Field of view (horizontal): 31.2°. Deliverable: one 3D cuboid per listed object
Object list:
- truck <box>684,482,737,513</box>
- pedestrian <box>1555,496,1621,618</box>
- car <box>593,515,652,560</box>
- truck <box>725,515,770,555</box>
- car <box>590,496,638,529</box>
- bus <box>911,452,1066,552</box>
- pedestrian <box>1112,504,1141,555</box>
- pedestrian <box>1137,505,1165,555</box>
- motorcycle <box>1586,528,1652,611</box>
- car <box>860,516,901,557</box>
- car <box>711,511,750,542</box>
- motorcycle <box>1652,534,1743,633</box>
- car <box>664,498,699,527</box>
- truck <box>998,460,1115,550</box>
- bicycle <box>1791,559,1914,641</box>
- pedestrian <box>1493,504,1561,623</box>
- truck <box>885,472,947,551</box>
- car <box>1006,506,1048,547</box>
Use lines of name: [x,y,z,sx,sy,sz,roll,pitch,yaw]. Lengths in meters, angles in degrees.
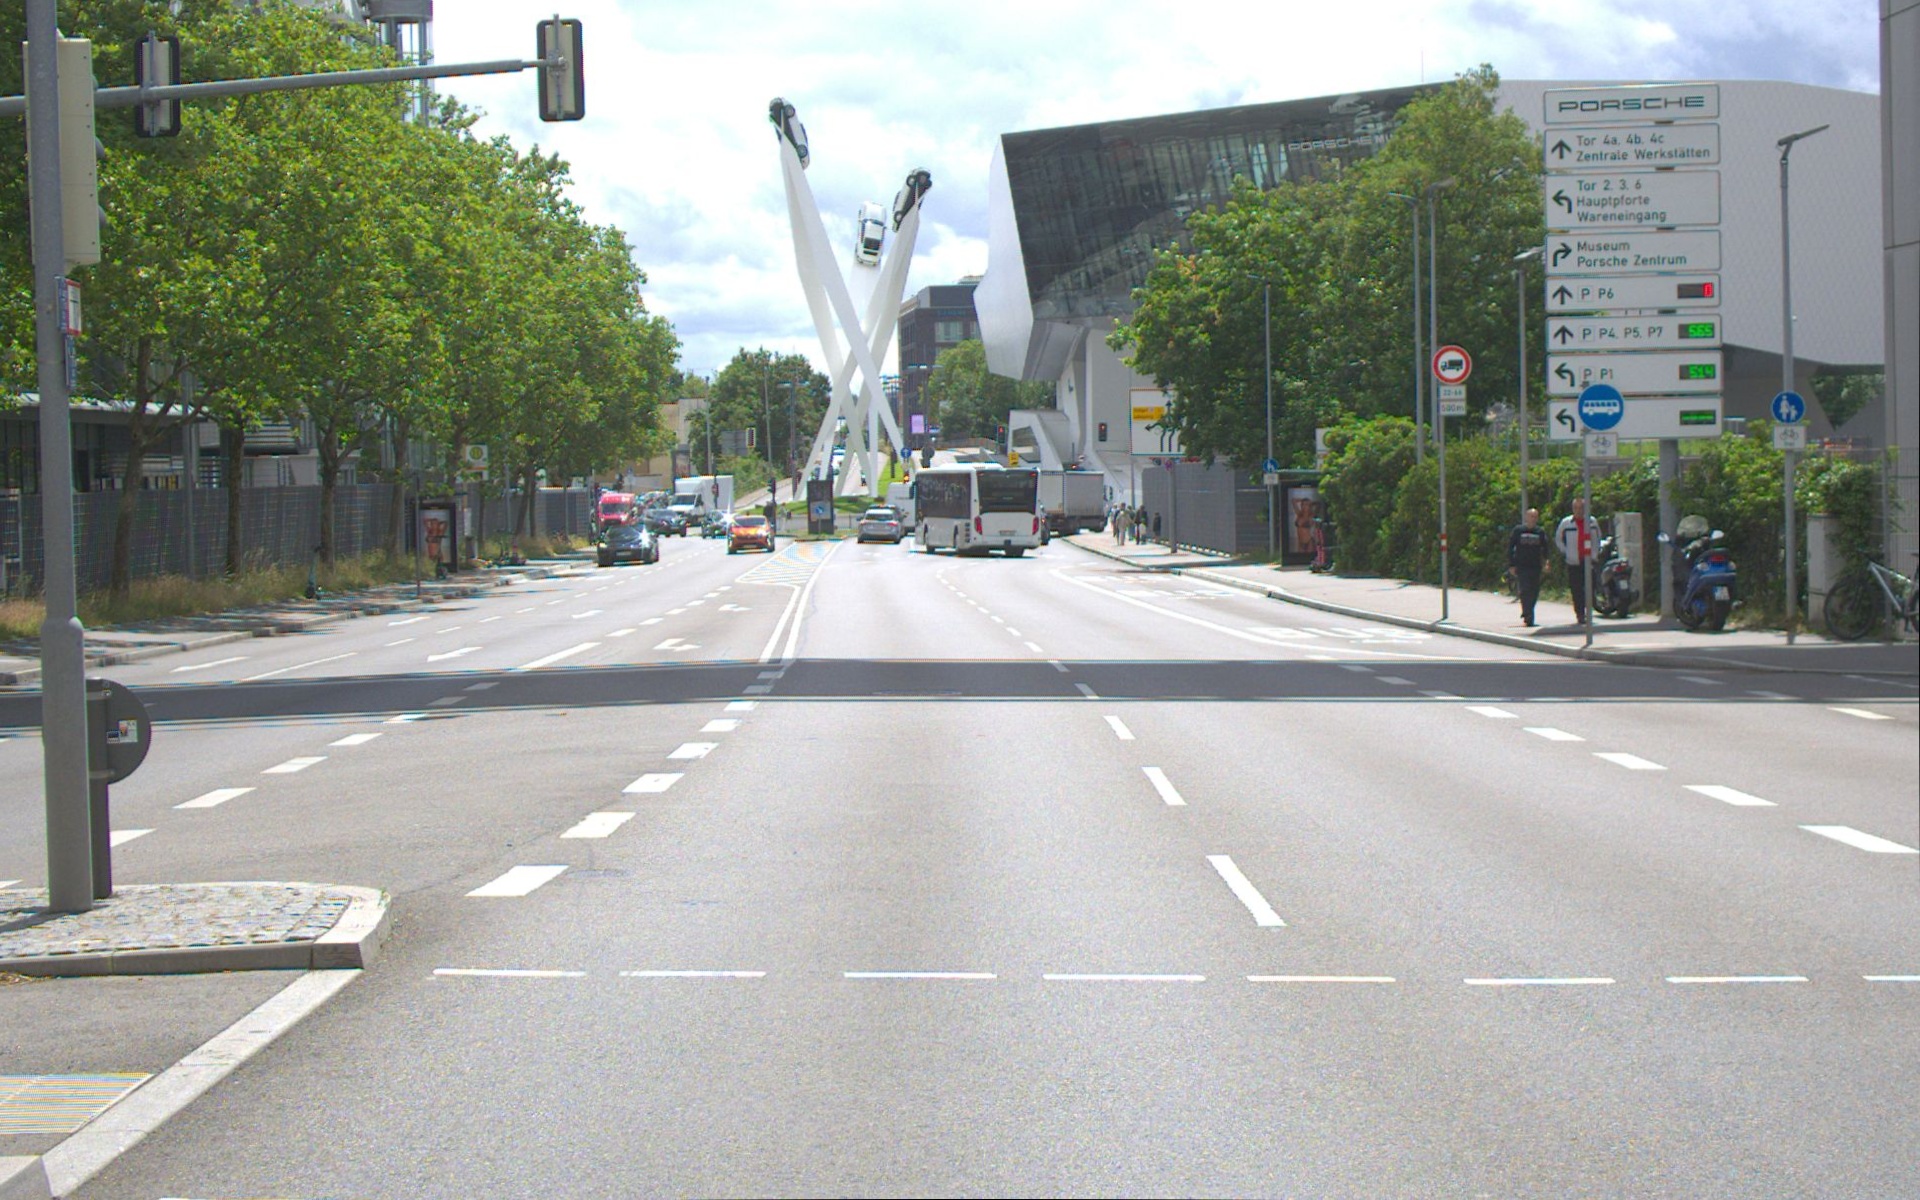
truck: [-16.476,-6.773,227.186,1.761,2.007,4.438,0,1,22]
pedestrian: [8.983,-0.618,49.184,0.820,1.735,0.637,0,1,-1]
car: [-12.004,-2.228,122.501,1.818,1.532,3.679,-2,1,-2]
truck: [-8.258,-2.511,133.144,1.583,1.532,3.679,0,1,-6]
car: [-21.038,-5.316,209.119,1.994,2.007,3.999,0,1,9]
bus: [0.947,-3.571,126.928,3.451,3.531,10.609,0,1,-12]
pedestrian: [6.691,-2.838,137.842,1.028,2.007,0.885,1,0,-4]
pedestrian: [7.715,-2.829,138.926,1.028,2.007,0.885,1,0,-4]
motorcycle: [10.097,-0.485,52.742,0.574,1.199,2.024,-2,2,-1]
car: [-3.441,-2.742,148.716,1.738,1.735,3.691,0,1,-1]
car: [-11.911,-3.800,178.571,1.818,1.532,3.679,-2,1,-6]
motorcycle: [9.614,-0.231,44.885,0.706,1.199,2.024,-2,2,-1]
car: [-15.428,-4.856,190.393,1.818,1.532,3.679,-2,1,-6]
truck: [4.899,-4.690,171.631,3.455,4.376,9.412,0,1,17]
bicycle: [10.620,-0.012,40.965,0.397,0.933,1.929,0,1,-19]
pedestrian: [8.136,-0.529,49.331,0.820,1.701,0.881,0,1,-1]
truck: [-2.174,-4.427,172.376,2.393,3.884,6.176,0,1,6]
car: [2.898,-3.189,149.315,1.738,1.735,3.691,0,1,-1]
